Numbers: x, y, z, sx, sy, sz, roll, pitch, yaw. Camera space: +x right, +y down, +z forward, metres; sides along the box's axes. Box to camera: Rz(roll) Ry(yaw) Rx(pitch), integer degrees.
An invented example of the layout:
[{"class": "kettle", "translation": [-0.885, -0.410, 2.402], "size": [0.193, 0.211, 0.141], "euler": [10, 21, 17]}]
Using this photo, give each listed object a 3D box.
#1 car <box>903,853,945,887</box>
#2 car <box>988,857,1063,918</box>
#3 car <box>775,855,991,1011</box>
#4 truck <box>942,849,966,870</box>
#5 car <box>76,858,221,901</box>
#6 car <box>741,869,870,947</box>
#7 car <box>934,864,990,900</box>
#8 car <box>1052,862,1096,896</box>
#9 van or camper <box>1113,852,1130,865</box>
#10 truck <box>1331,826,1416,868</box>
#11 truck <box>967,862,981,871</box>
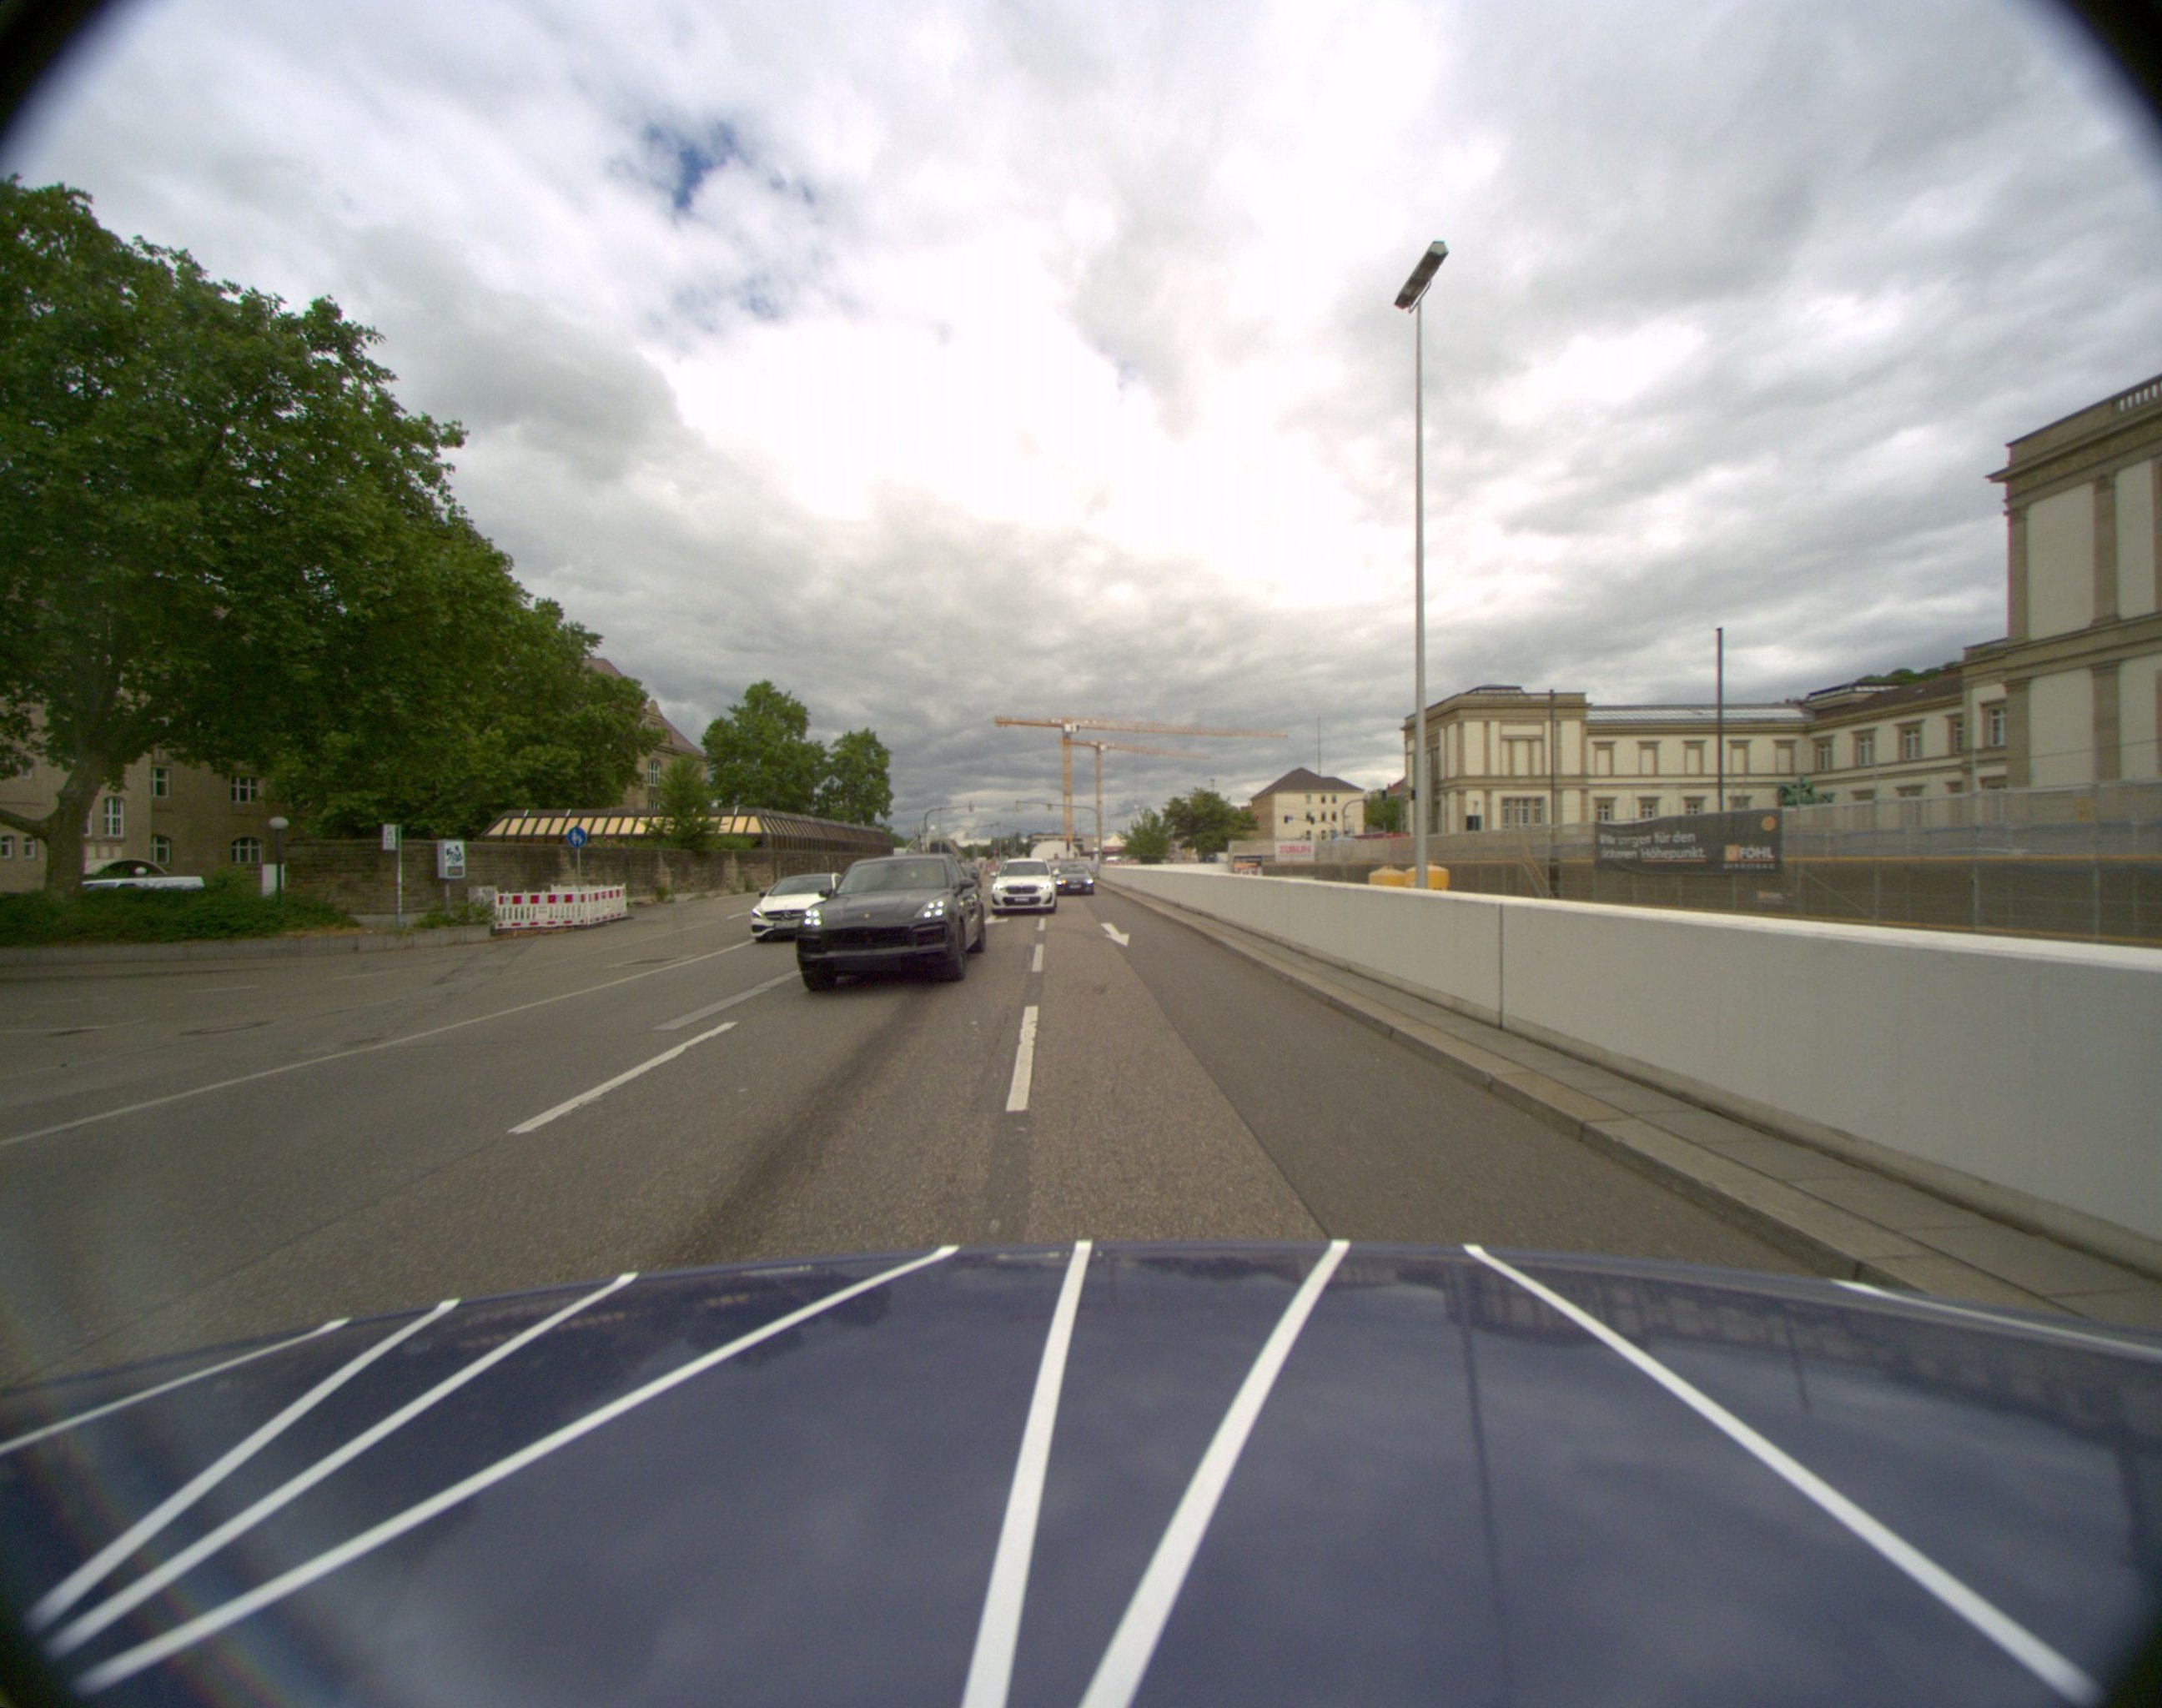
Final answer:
[{"class": "car", "translation": [-9.541, 0.954, 46.457], "size": [1.938, 1.926, 3.672], "euler": [2, 0, -3]}, {"class": "car", "translation": [-1.576, 0.942, 22.860], "size": [1.812, 1.595, 3.713], "euler": [-3, 0, 2]}, {"class": "car", "translation": [-2.511, 0.896, 10.926], "size": [1.956, 1.638, 4.607], "euler": [-3, 0, -2]}, {"class": "truck", "translation": [-23.188, 1.075, 138.256], "size": [2.913, 3.653, 9.013], "euler": [0, 0, -18]}, {"class": "car", "translation": [-42.718, 1.117, 34.957], "size": [1.812, 1.815, 3.972], "euler": [0, 0, -1]}, {"class": "car", "translation": [-6.412, 1.177, 18.210], "size": [1.739, 1.427, 4.379], "euler": [-4, 0, -5]}, {"class": "car", "translation": [-5.200, 1.207, 33.795], "size": [1.733, 1.461, 4.419], "euler": [0, 0, 1]}, {"class": "car", "translation": [-0.281, 1.095, 34.805], "size": [1.852, 1.412, 4.105], "euler": [-2, -1, 1]}, {"class": "van or camper", "translation": [7.353, 0.845, 137.783], "size": [1.996, 2.214, 4.005], "euler": [-1, 1, 19]}, {"class": "truck", "translation": [31.089, -0.533, 81.942], "size": [2.925, 4.058, 16.616], "euler": [0, -1, 0]}, {"class": "truck", "translation": [-19.271, 2.286, 136.663], "size": [1.828, 1.531, 3.756], "euler": [-1, -1, -17]}]
